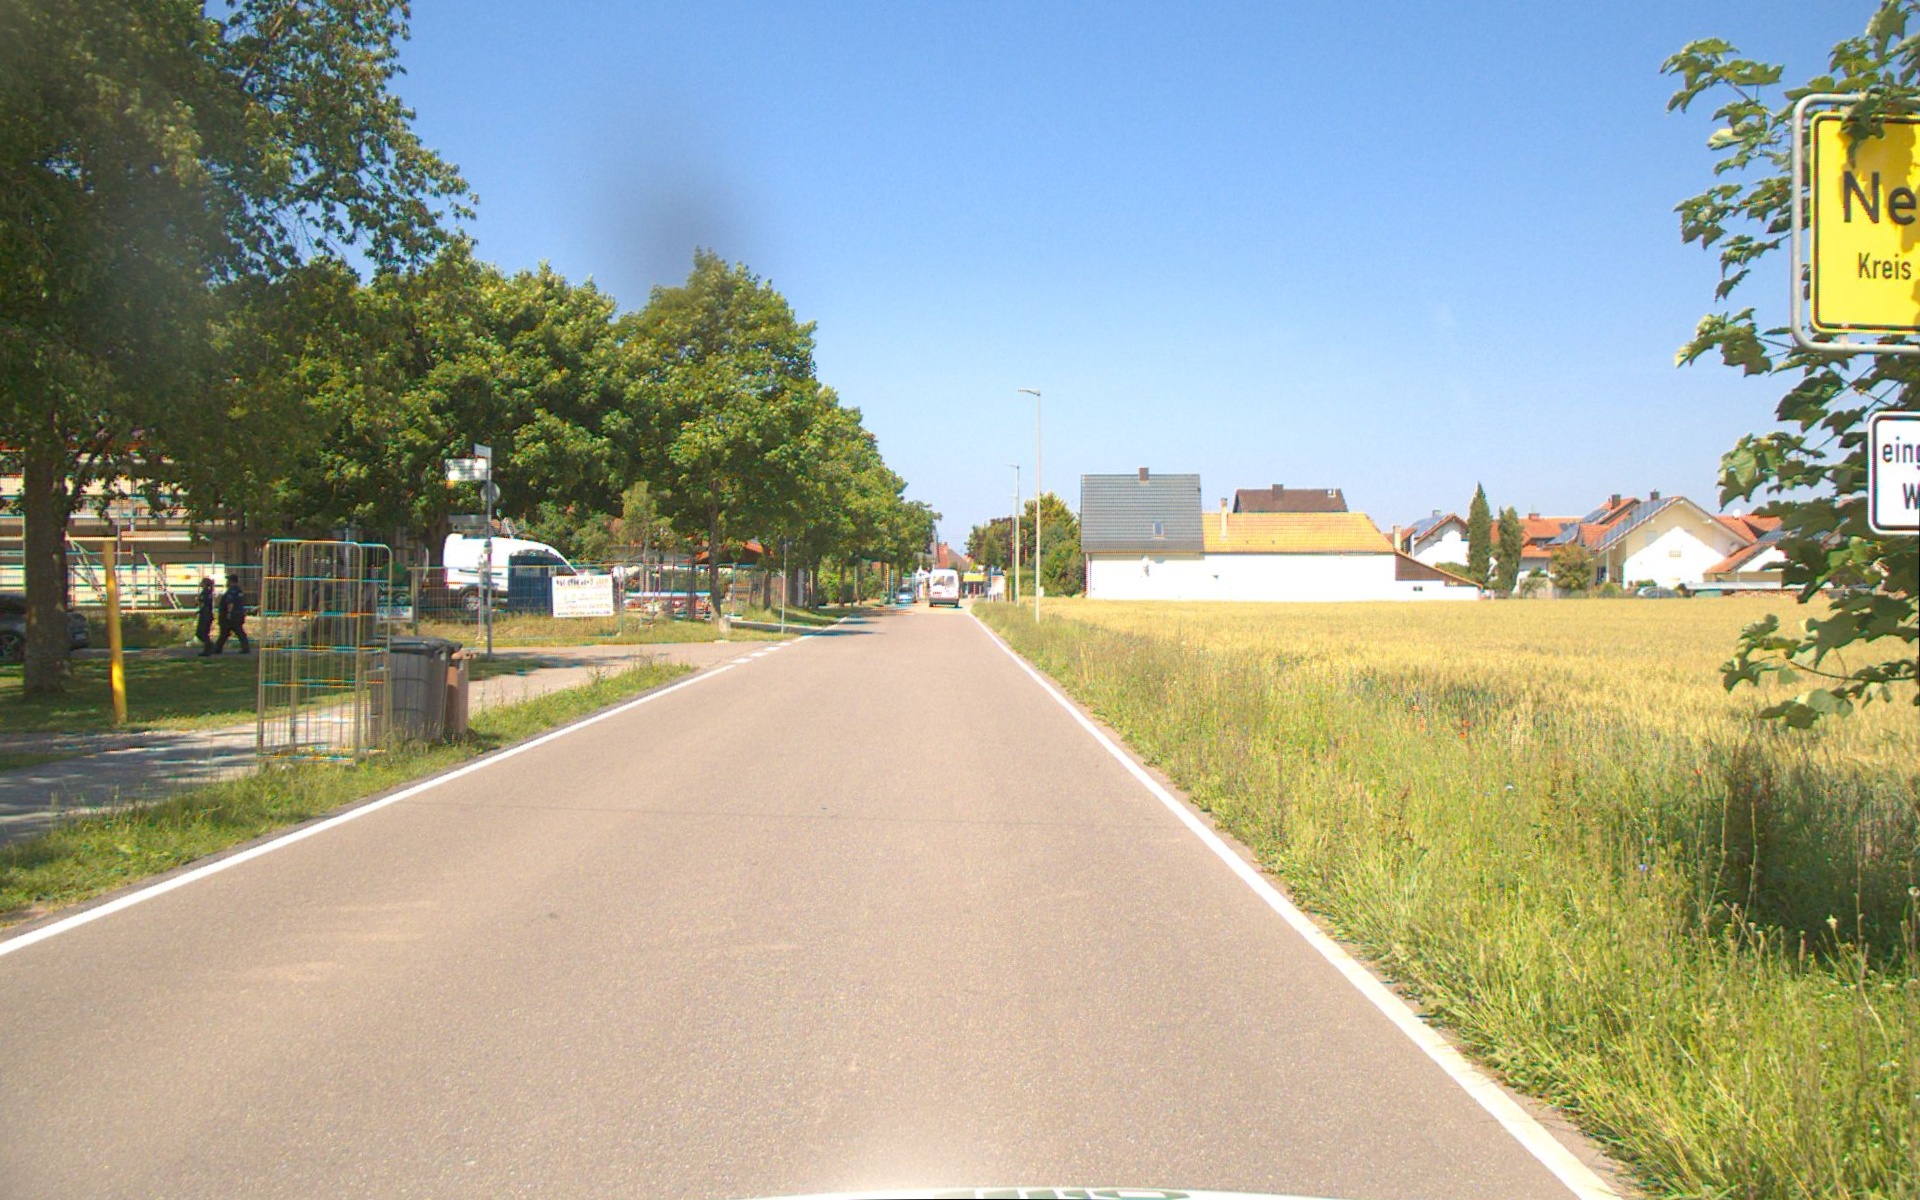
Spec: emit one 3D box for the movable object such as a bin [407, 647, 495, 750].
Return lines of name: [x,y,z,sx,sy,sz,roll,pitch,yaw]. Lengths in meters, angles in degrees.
movable object such as a bin: [-4.648,0.893,15.123,0.550,0.892,0.614,-1,0,7]

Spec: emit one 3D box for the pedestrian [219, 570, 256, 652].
pedestrian: [-15.879,0.237,36.350,0.592,1.781,0.585,-1,0,-10]

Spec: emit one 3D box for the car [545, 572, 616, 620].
car: [-15.351,-0.176,67.062,1.930,1.870,4.327,0,0,-1]

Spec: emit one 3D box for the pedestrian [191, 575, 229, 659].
pedestrian: [-16.104,0.355,35.535,0.592,1.781,0.585,-1,0,-10]

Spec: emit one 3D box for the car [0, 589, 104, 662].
car: [-19.673,0.511,33.508,3.729,1.423,1.756,-1,0,-8]

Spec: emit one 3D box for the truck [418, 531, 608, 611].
truck: [-14.934,-0.918,55.462,5.871,2.527,1.973,0,0,-38]

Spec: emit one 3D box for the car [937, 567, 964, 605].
car: [-0.623,-0.925,111.257,1.702,2.474,4.374,-1,0,1]

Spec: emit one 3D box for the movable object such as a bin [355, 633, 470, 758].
movable object such as a bin: [-4.752,0.818,14.386,0.684,1.042,0.748,-1,0,7]

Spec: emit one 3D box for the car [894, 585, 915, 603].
car: [-4.715,-0.509,140.453,1.613,1.448,4.080,-3,0,-1]
